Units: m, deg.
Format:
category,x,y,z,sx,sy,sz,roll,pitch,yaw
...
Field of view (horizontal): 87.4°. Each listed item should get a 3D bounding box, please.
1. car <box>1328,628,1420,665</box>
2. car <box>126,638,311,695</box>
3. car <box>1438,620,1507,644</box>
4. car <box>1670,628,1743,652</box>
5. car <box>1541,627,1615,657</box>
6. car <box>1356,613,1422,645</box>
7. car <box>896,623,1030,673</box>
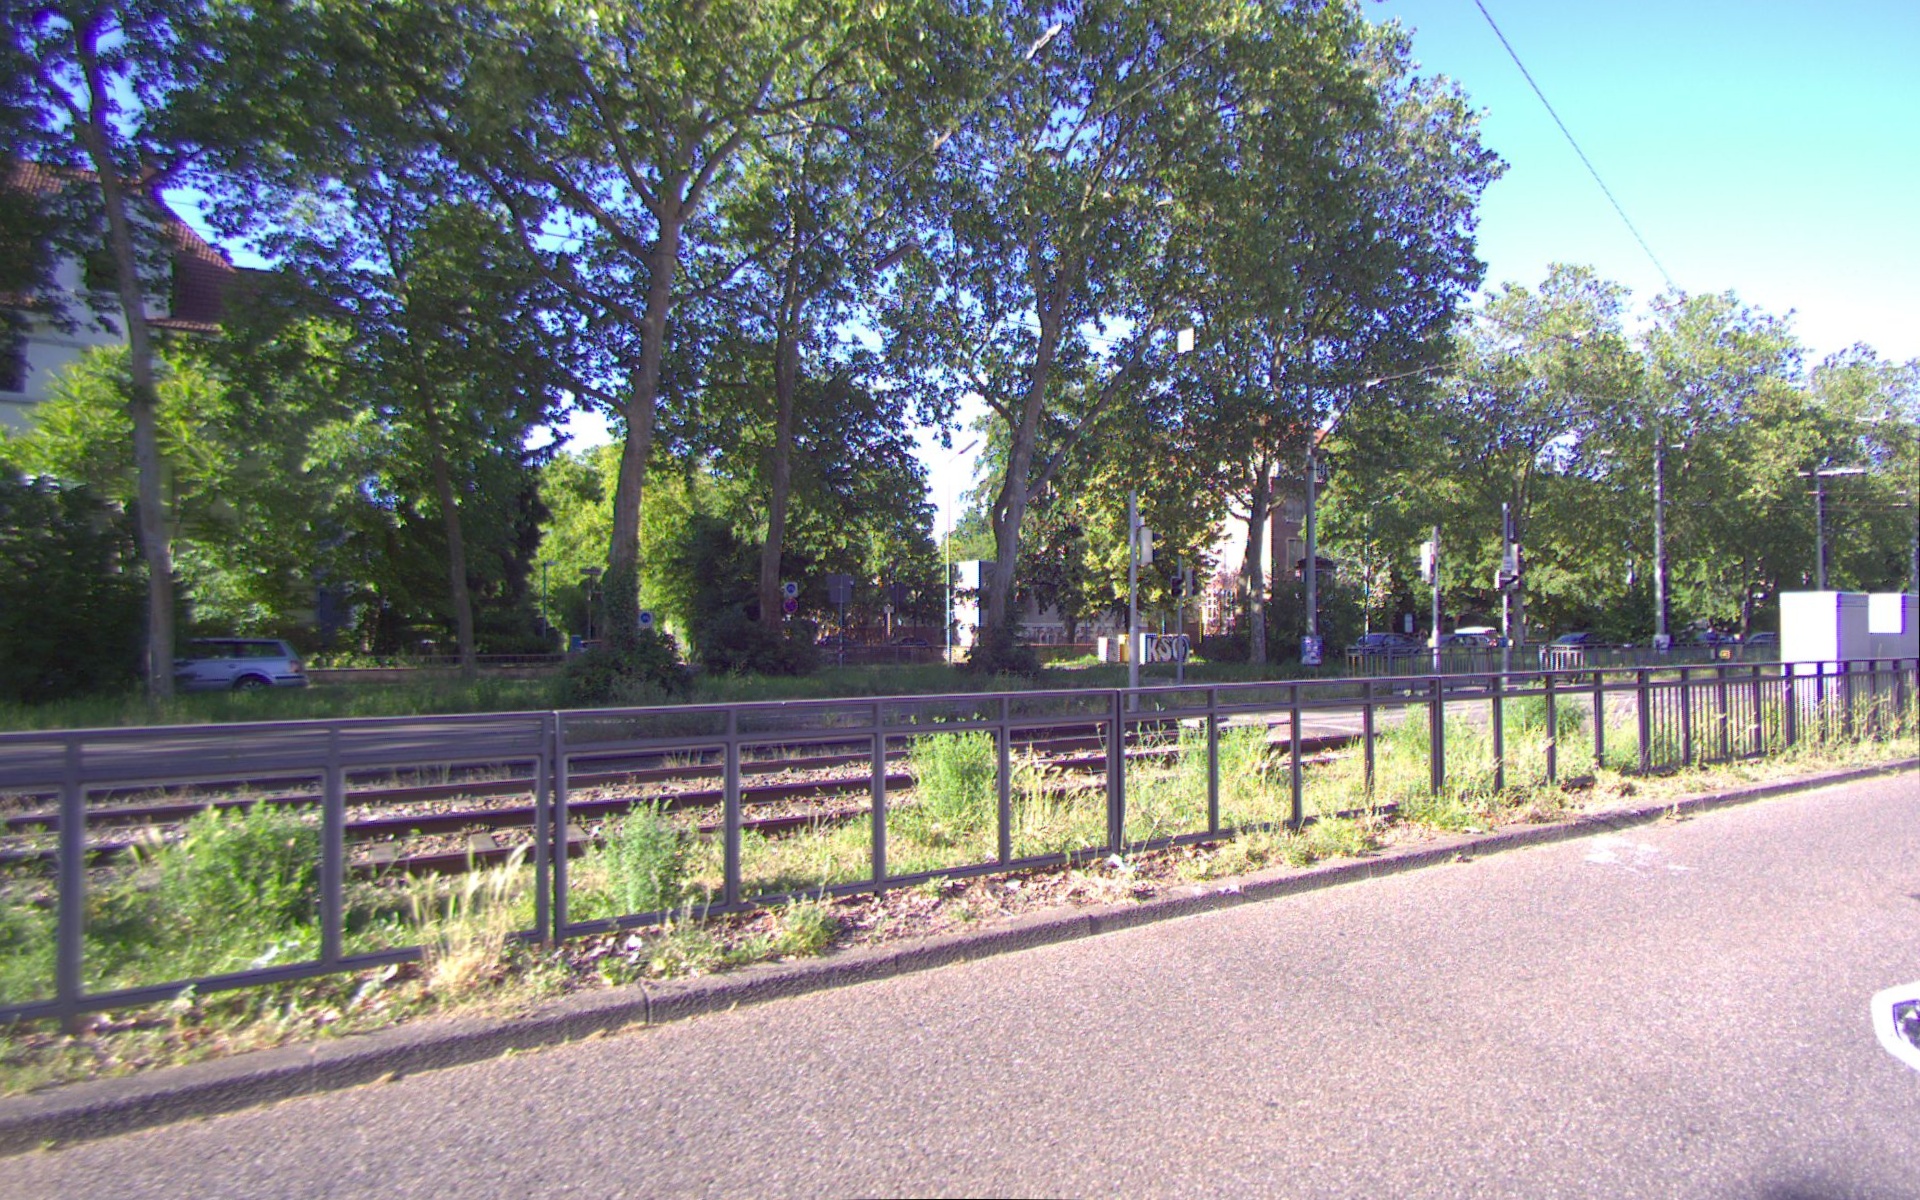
category,x,y,z,sx,sy,sz,roll,pitch,yaw
car,18.058,2.022,43.796,4.099,1.529,1.660,1,-3,-32
car,-16.248,1.432,22.189,3.184,1.131,1.463,1,-1,-34
car,33.245,2.071,65.256,1.375,1.514,3.974,1,-1,-26
car,44.905,2.398,60.373,4.796,1.366,1.925,2,-2,-32
car,32.323,2.184,52.500,4.099,1.529,1.660,1,-2,-32
car,27.546,1.843,64.491,3.954,2.040,1.984,1,-1,-31
car,0.116,1.530,32.530,4.099,1.529,1.660,1,-1,-32
